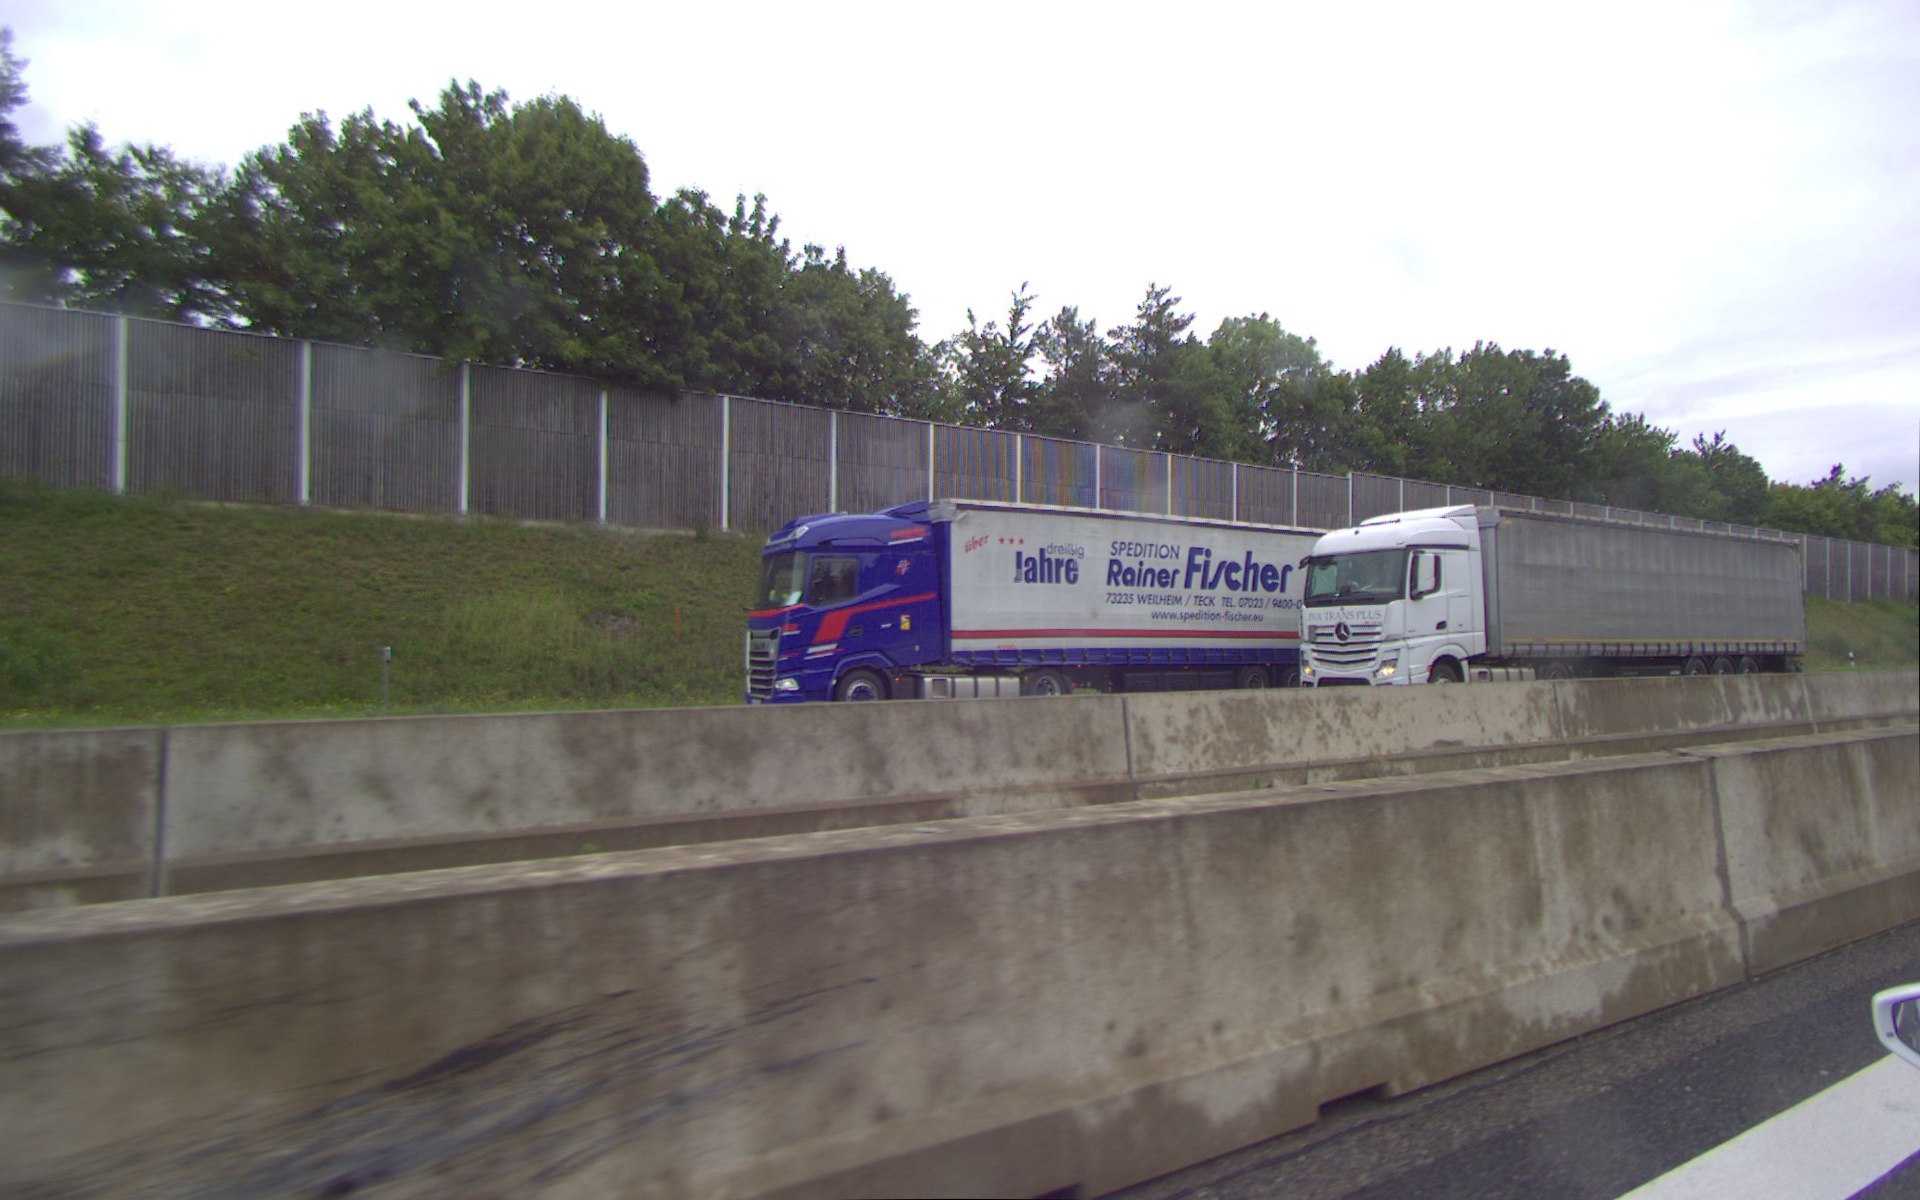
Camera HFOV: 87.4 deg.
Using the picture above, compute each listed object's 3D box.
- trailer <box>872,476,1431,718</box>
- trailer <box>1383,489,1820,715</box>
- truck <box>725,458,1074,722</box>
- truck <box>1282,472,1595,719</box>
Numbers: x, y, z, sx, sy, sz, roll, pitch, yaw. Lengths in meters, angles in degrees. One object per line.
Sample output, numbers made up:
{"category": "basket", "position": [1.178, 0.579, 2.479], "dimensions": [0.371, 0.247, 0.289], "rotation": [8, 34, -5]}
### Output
{"category": "trailer", "position": [5.057, 0.180, 23.191], "dimensions": [14.171, 4.382, 3.075], "rotation": [2, -2, -31]}
{"category": "trailer", "position": [15.908, 0.225, 24.135], "dimensions": [13.860, 4.382, 2.766], "rotation": [2, 0, -30]}
{"category": "truck", "position": [-1.136, -0.054, 19.543], "dimensions": [6.027, 4.382, 3.075], "rotation": [2, -1, -30]}
{"category": "truck", "position": [9.833, -0.013, 20.551], "dimensions": [6.026, 4.382, 2.766], "rotation": [2, 0, -30]}
